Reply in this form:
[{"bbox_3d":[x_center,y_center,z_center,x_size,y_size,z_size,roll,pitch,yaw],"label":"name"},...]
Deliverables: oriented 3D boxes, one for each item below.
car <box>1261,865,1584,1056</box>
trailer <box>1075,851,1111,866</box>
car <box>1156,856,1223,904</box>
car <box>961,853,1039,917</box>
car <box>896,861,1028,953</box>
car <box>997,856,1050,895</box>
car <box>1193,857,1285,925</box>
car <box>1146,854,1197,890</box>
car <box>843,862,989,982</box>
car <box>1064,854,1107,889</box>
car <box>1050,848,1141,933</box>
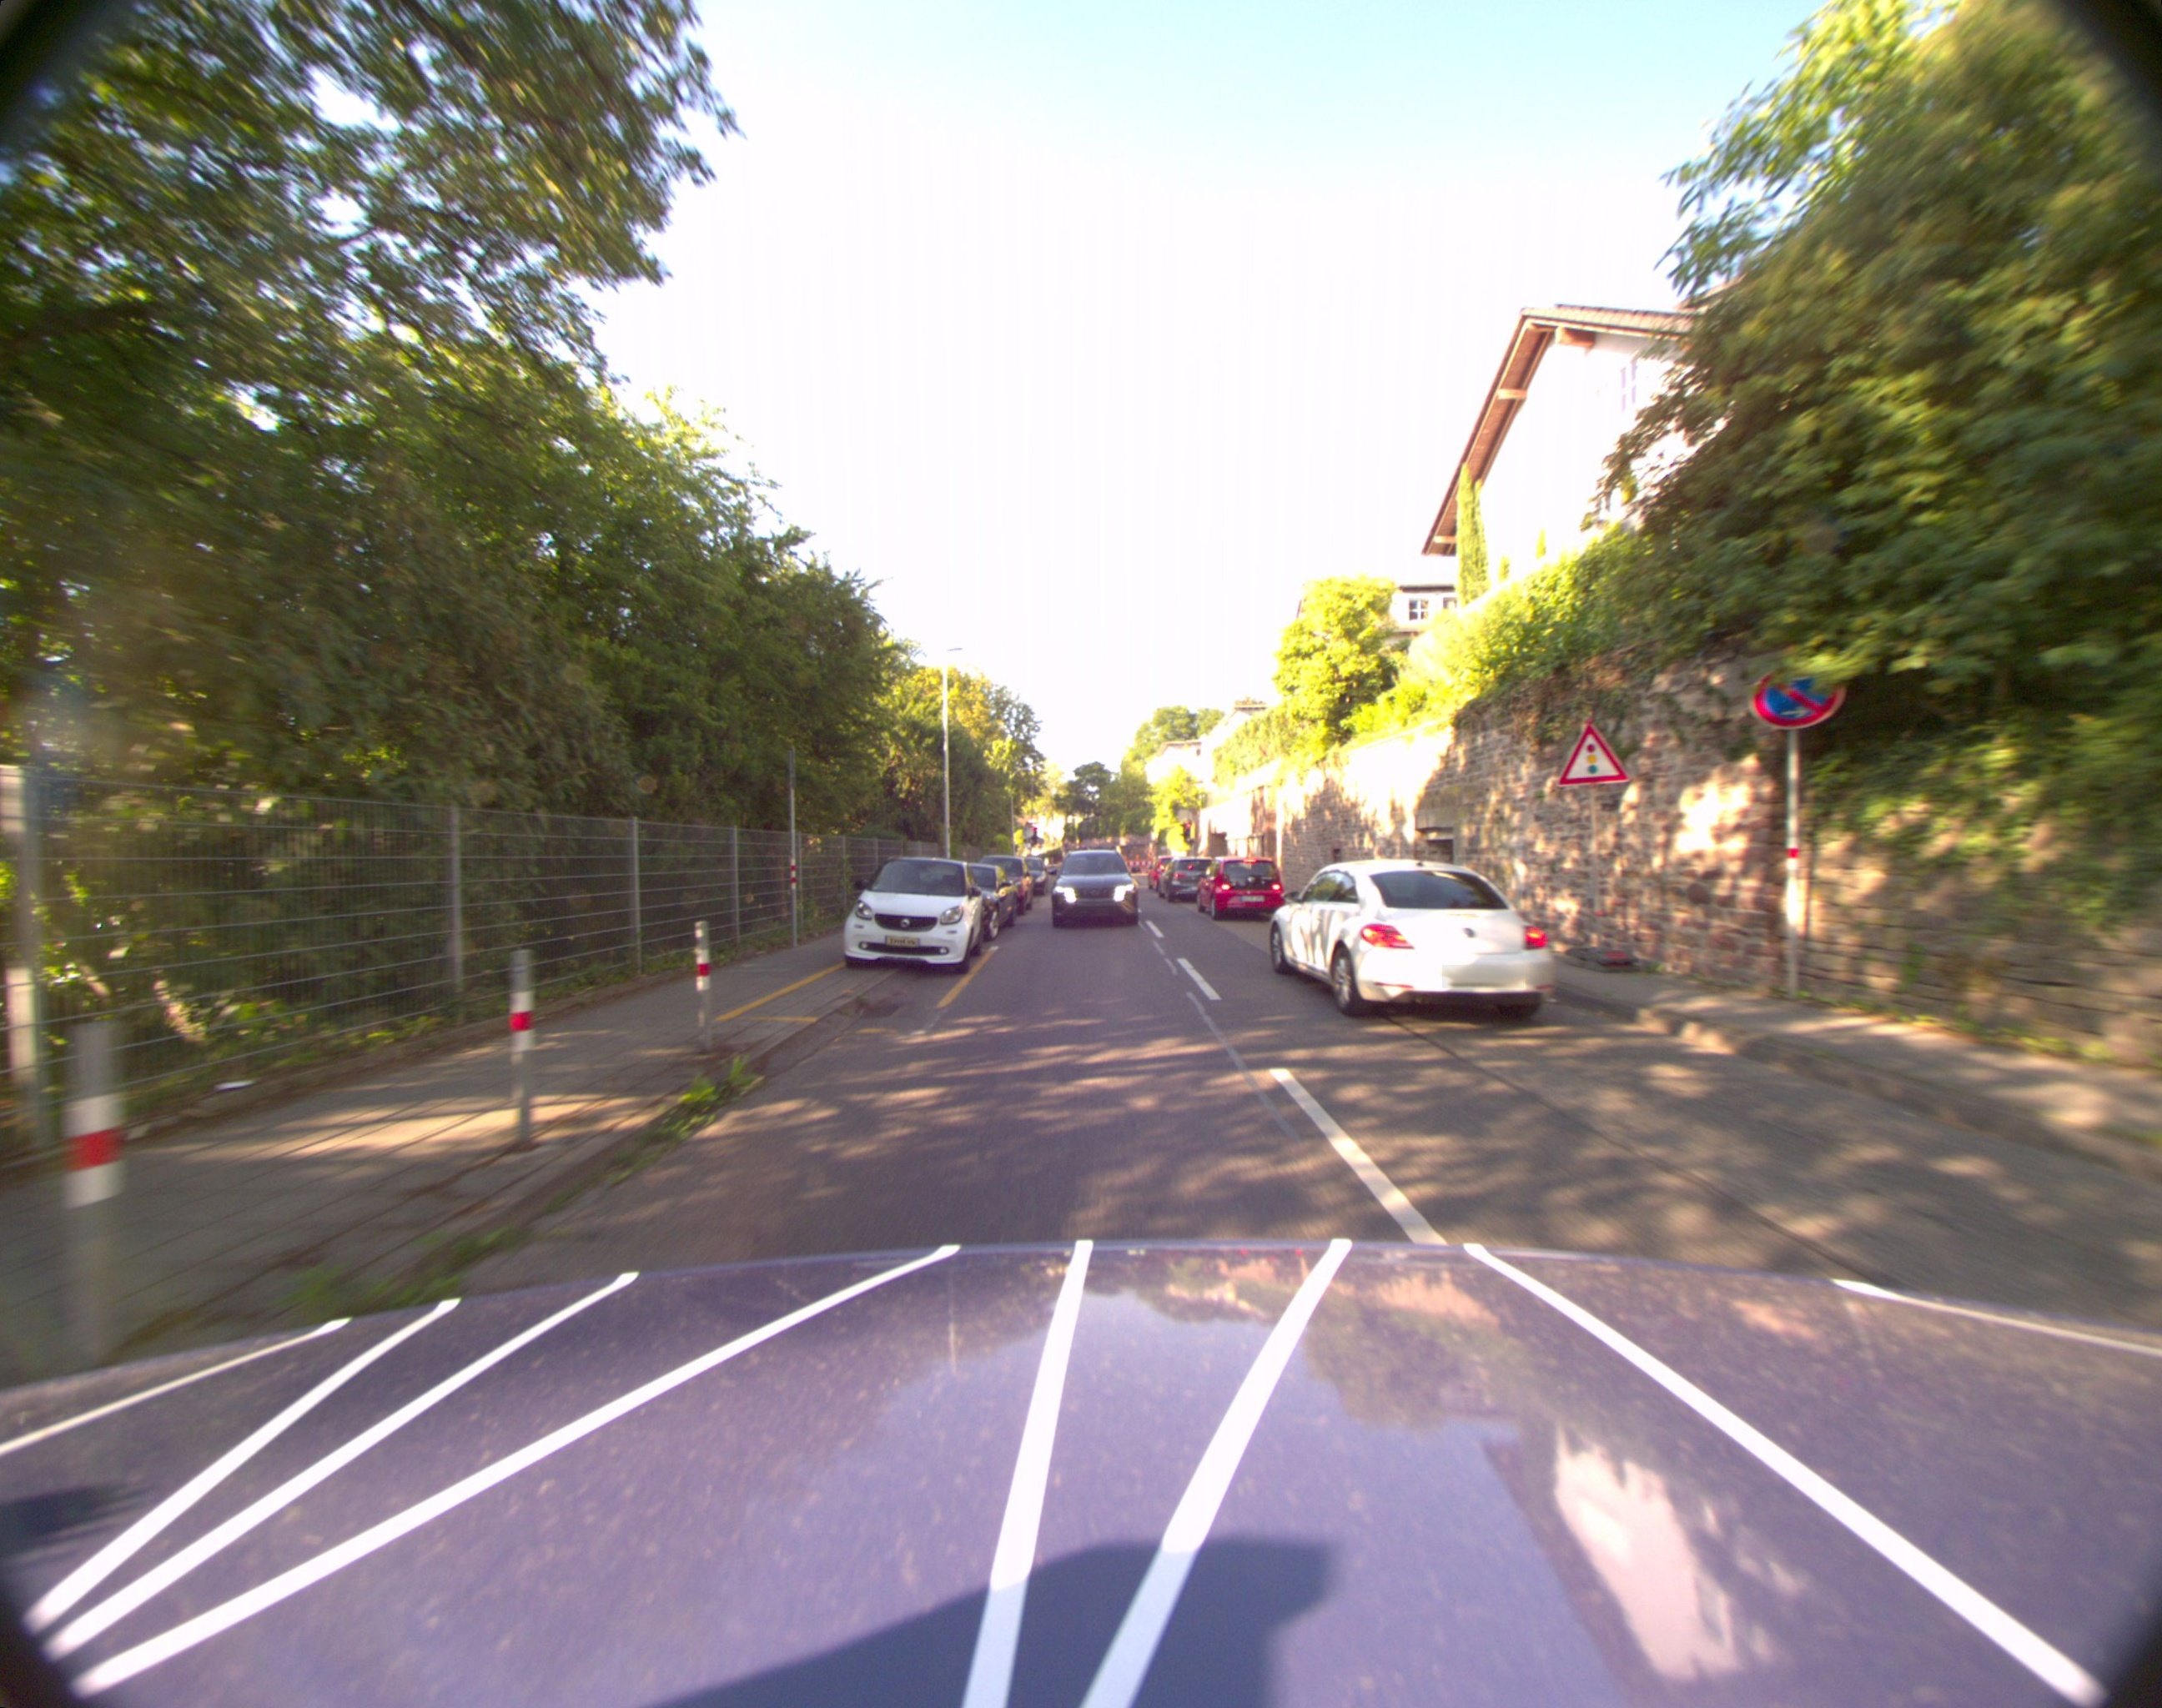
[{"bbox_3d":[3.244,0.896,8.184,1.745,1.466,4.000,0,1,1],"label":"car"},{"bbox_3d":[1.288,0.453,85.160,2.649,1.481,7.111,-2,1,-11],"label":"trailer"},{"bbox_3d":[3.487,0.797,25.001,1.653,1.403,3.930,0,0,0],"label":"car"},{"bbox_3d":[-2.195,0.801,21.170,1.657,1.555,2.872,3,1,3],"label":"car"},{"bbox_3d":[-2.303,0.971,15.966,1.714,1.489,4.814,-3,0,3],"label":"car"},{"bbox_3d":[-2.248,0.820,30.586,1.799,1.432,4.000,-1,0,0],"label":"car"},{"bbox_3d":[3.742,0.824,18.535,1.554,1.457,3.568,1,0,1],"label":"car"},{"bbox_3d":[3.740,0.716,31.982,1.631,1.413,3.562,0,0,-1],"label":"car"},{"bbox_3d":[-2.286,0.886,11.169,1.629,1.501,2.902,1,0,-3],"label":"car"},{"bbox_3d":[0.260,0.771,35.186,1.661,1.468,3.684,-2,1,5],"label":"car"},{"bbox_3d":[0.228,0.729,17.882,1.788,1.639,4.472,-3,1,-2],"label":"car"}]
